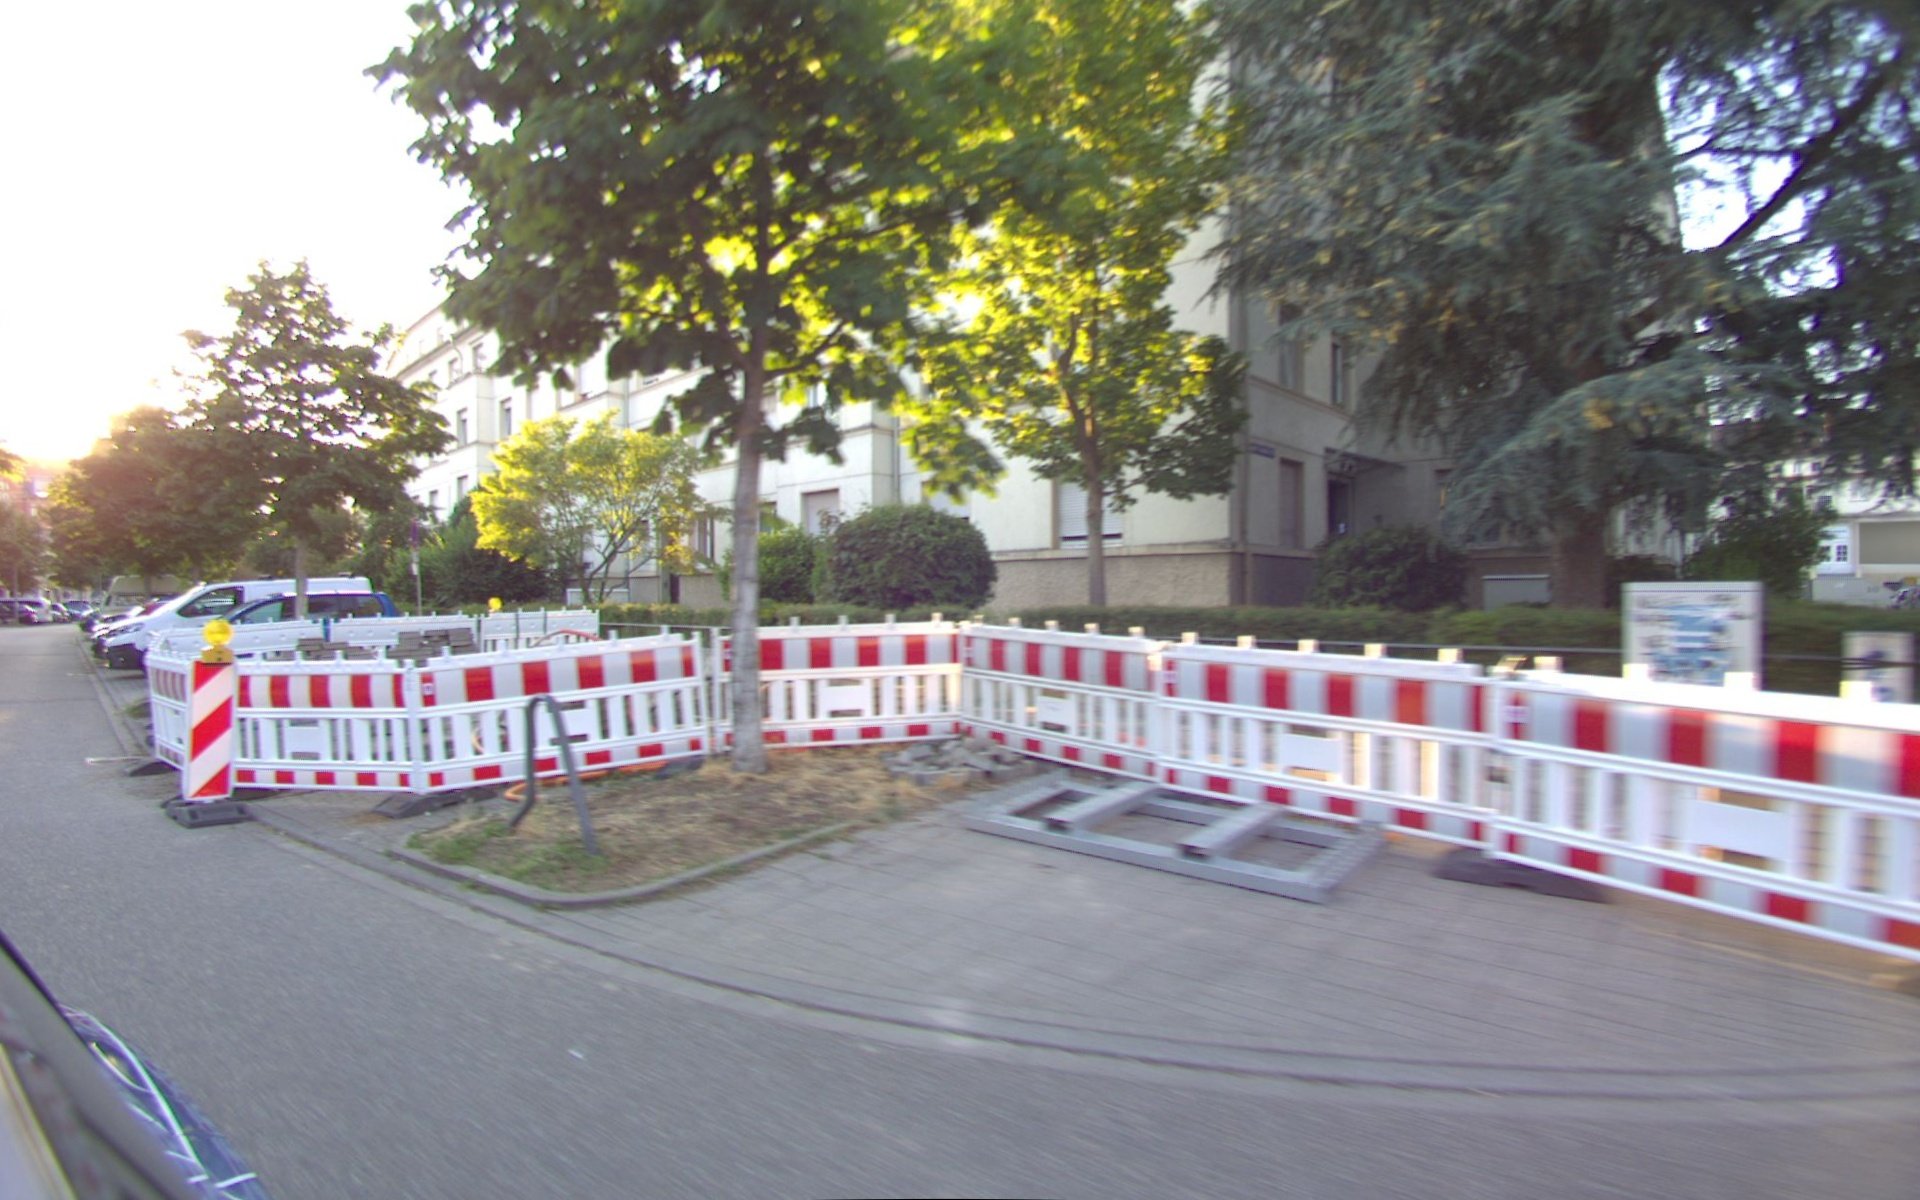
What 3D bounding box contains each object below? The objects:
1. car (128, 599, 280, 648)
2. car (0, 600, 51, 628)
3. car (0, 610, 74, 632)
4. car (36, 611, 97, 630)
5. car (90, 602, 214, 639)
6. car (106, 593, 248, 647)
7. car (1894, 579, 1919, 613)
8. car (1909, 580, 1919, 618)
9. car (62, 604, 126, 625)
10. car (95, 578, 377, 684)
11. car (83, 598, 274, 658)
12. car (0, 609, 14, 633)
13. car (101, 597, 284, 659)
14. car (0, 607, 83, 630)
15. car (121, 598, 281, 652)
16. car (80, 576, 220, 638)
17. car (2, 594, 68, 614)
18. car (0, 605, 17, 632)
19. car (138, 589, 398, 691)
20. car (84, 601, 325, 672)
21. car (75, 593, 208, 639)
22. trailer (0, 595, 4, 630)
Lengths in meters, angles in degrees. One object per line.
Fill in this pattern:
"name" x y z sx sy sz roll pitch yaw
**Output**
"car" -25.817 0.764 34.634 1.791 1.536 3.942 -1 0 45
"car" -66.866 1.001 71.302 3.933 1.918 2.005 -1 0 -34
"car" -74.615 1.715 81.711 4.355 1.587 1.987 3 -3 -34
"car" -83.133 1.926 94.260 3.932 1.557 1.850 3 -2 -33
"car" -35.283 0.870 44.252 4.123 1.436 2.003 -1 0 -41
"car" -28.263 0.671 36.604 1.843 1.790 3.819 1 1 43
"car" 51.085 -0.247 53.622 1.997 1.772 3.631 -1 0 38
"car" 47.791 -0.080 49.222 1.997 1.792 3.631 -1 0 38
"car" -88.038 1.475 102.965 4.523 1.876 2.018 4 -3 -31
"car" -15.542 0.570 21.897 4.716 2.029 2.002 -1 0 -44
"car" -23.720 0.800 30.829 1.900 1.627 4.358 -1 0 43
"car" -64.649 1.422 65.751 4.367 1.510 1.778 -1 0 -34
"car" -21.971 0.758 29.085 1.801 1.590 3.943 -1 0 43
"car" -75.950 1.544 83.788 4.721 1.767 2.022 3 -3 -34
"car" -24.807 0.778 33.174 1.731 1.595 3.943 -1 0 43
"car" -33.689 0.256 42.200 4.446 2.449 2.003 -1 0 -40
"car" -102.312 0.440 112.006 4.891 2.117 2.158 -1 1 -28
"car" -65.898 1.278 67.415 4.243 1.813 1.909 -1 0 -34
"car" -13.491 0.704 19.871 1.801 1.765 3.941 -1 0 45
"car" -19.140 0.848 25.791 4.716 1.481 1.883 -3 2 -43
"car" -37.084 0.695 45.934 4.616 1.888 2.003 -1 0 -41
"trailer" -62.537 0.818 63.149 3.935 2.204 2.005 -1 0 -36
